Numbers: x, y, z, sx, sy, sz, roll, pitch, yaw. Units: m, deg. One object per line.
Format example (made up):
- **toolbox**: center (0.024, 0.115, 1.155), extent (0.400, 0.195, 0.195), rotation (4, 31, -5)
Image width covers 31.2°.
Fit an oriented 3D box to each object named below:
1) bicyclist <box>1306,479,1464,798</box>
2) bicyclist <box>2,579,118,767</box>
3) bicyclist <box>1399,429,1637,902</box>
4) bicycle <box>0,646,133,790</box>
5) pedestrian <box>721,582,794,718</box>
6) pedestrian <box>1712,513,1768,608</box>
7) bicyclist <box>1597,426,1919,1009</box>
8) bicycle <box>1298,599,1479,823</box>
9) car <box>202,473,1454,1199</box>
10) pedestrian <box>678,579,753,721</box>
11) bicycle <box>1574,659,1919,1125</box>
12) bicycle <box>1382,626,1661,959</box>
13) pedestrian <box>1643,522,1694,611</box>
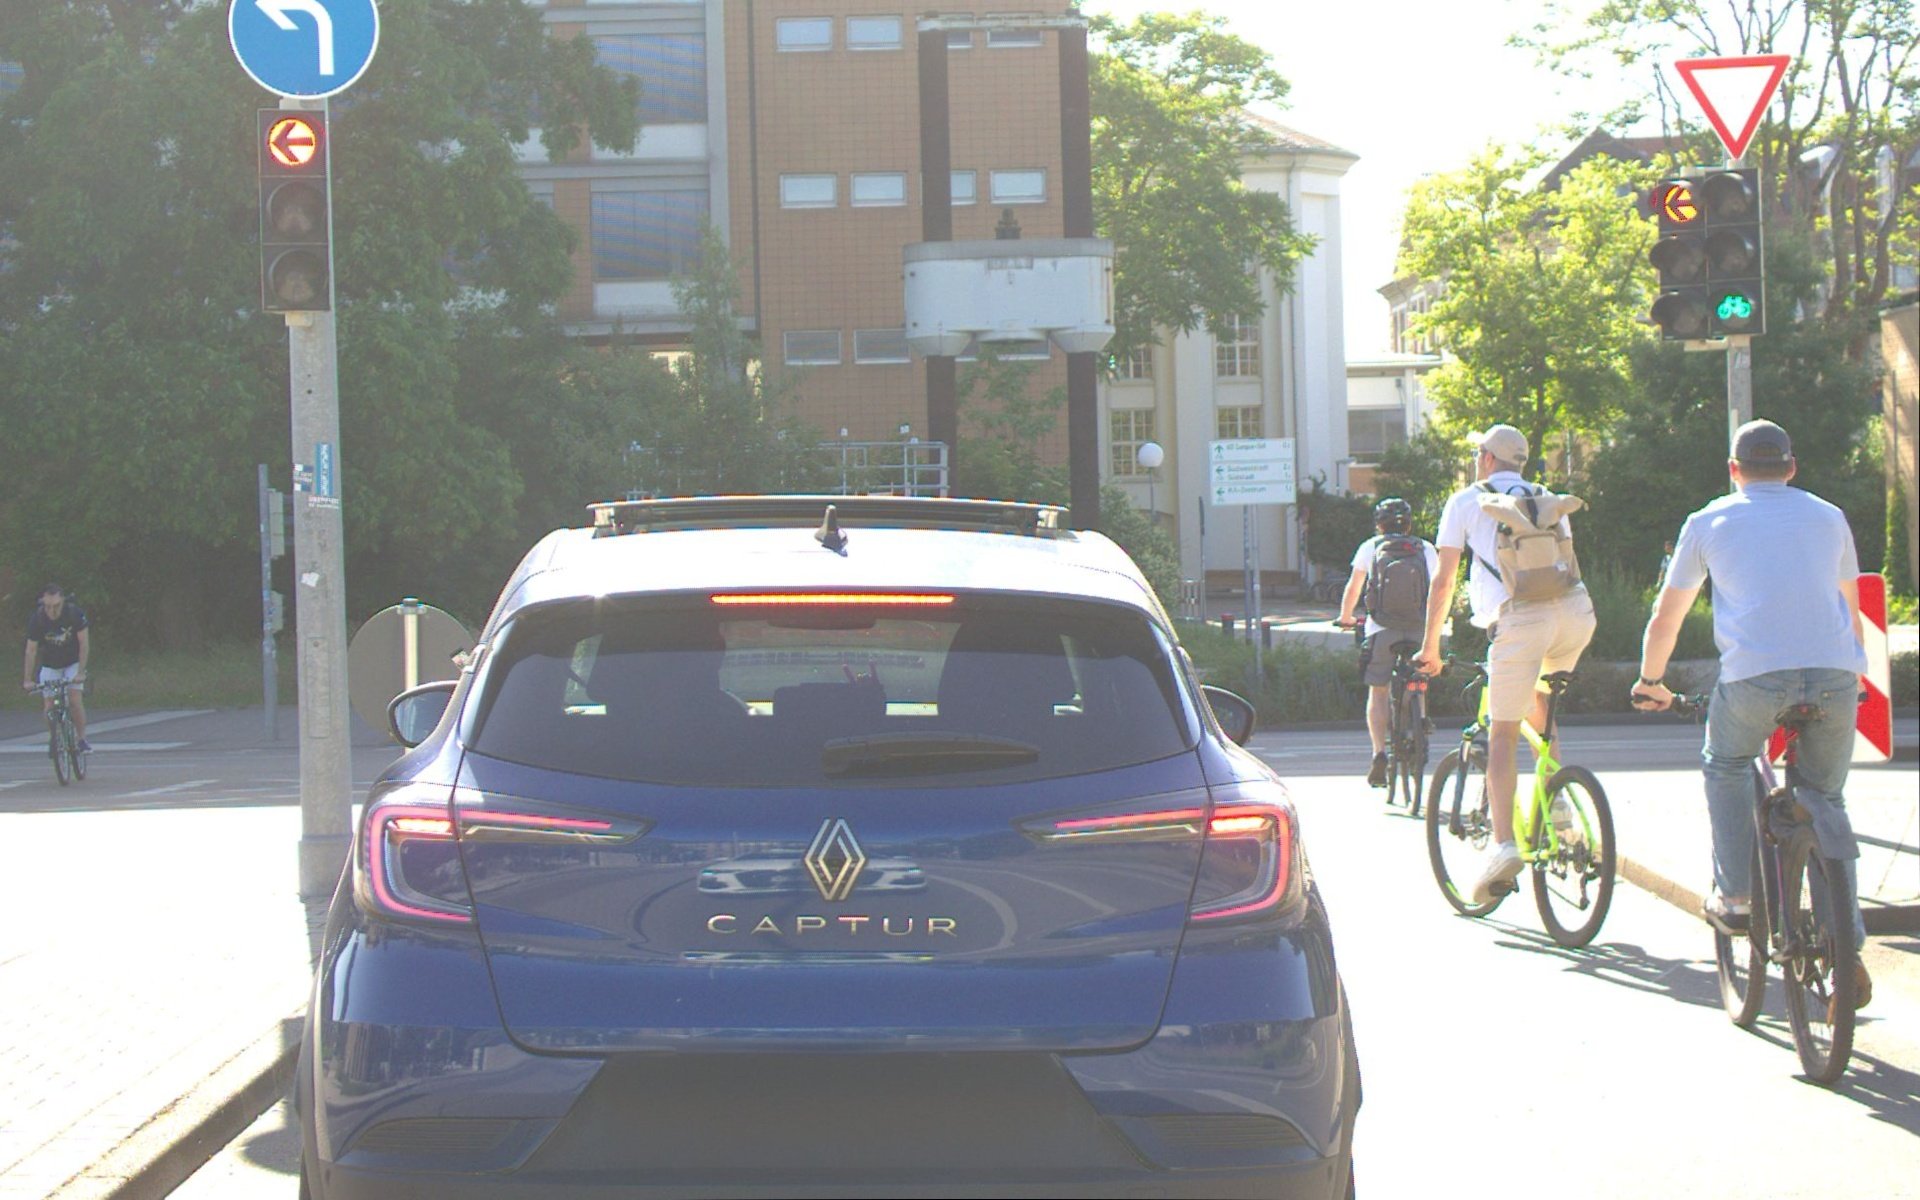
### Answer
- **bicyclist**: center (2.377, 0.205, 19.323), extent (0.719, 1.729, 0.978), rotation (-1, 1, -1)
- **bicyclist**: center (-8.037, 0.642, 30.722), extent (0.719, 1.615, 0.978), rotation (-2, 1, -1)
- **bicyclist**: center (2.152, 0.241, 13.364), extent (0.719, 1.756, 0.978), rotation (-1, 1, -1)
- **bicycle**: center (-8.021, 1.038, 30.774), extent (0.746, 1.161, 1.870), rotation (-3, 1, -1)
- **pedestrian**: center (-2.682, 0.653, 45.488), extent (0.734, 1.776, 0.731), rotation (1, 0, 17)
- **pedestrian**: center (13.599, -0.688, 59.956), extent (0.677, 1.637, 0.734), rotation (1, 1, 39)
- **bicyclist**: center (2.338, 0.321, 10.079), extent (0.719, 1.611, 0.978), rotation (-1, 1, -1)
- **bicycle**: center (2.387, 0.594, 19.354), extent (0.746, 1.161, 1.870), rotation (-1, 1, -1)
- **car**: center (-0.225, 0.605, 7.107), extent (1.876, 1.612, 3.798), rotation (1, 1, -1)
- **pedestrian**: center (-3.172, 0.641, 44.580), extent (0.734, 1.810, 0.731), rotation (1, 0, 17)
- **bicycle**: center (2.346, 0.789, 10.024), extent (0.716, 1.161, 1.870), rotation (-1, 1, -1)
- **bicycle**: center (2.163, 0.709, 13.481), extent (0.746, 1.161, 1.870), rotation (-1, 1, -1)
- **pedestrian**: center (13.147, -0.621, 63.798), extent (0.677, 1.637, 0.734), rotation (1, 0, 33)
